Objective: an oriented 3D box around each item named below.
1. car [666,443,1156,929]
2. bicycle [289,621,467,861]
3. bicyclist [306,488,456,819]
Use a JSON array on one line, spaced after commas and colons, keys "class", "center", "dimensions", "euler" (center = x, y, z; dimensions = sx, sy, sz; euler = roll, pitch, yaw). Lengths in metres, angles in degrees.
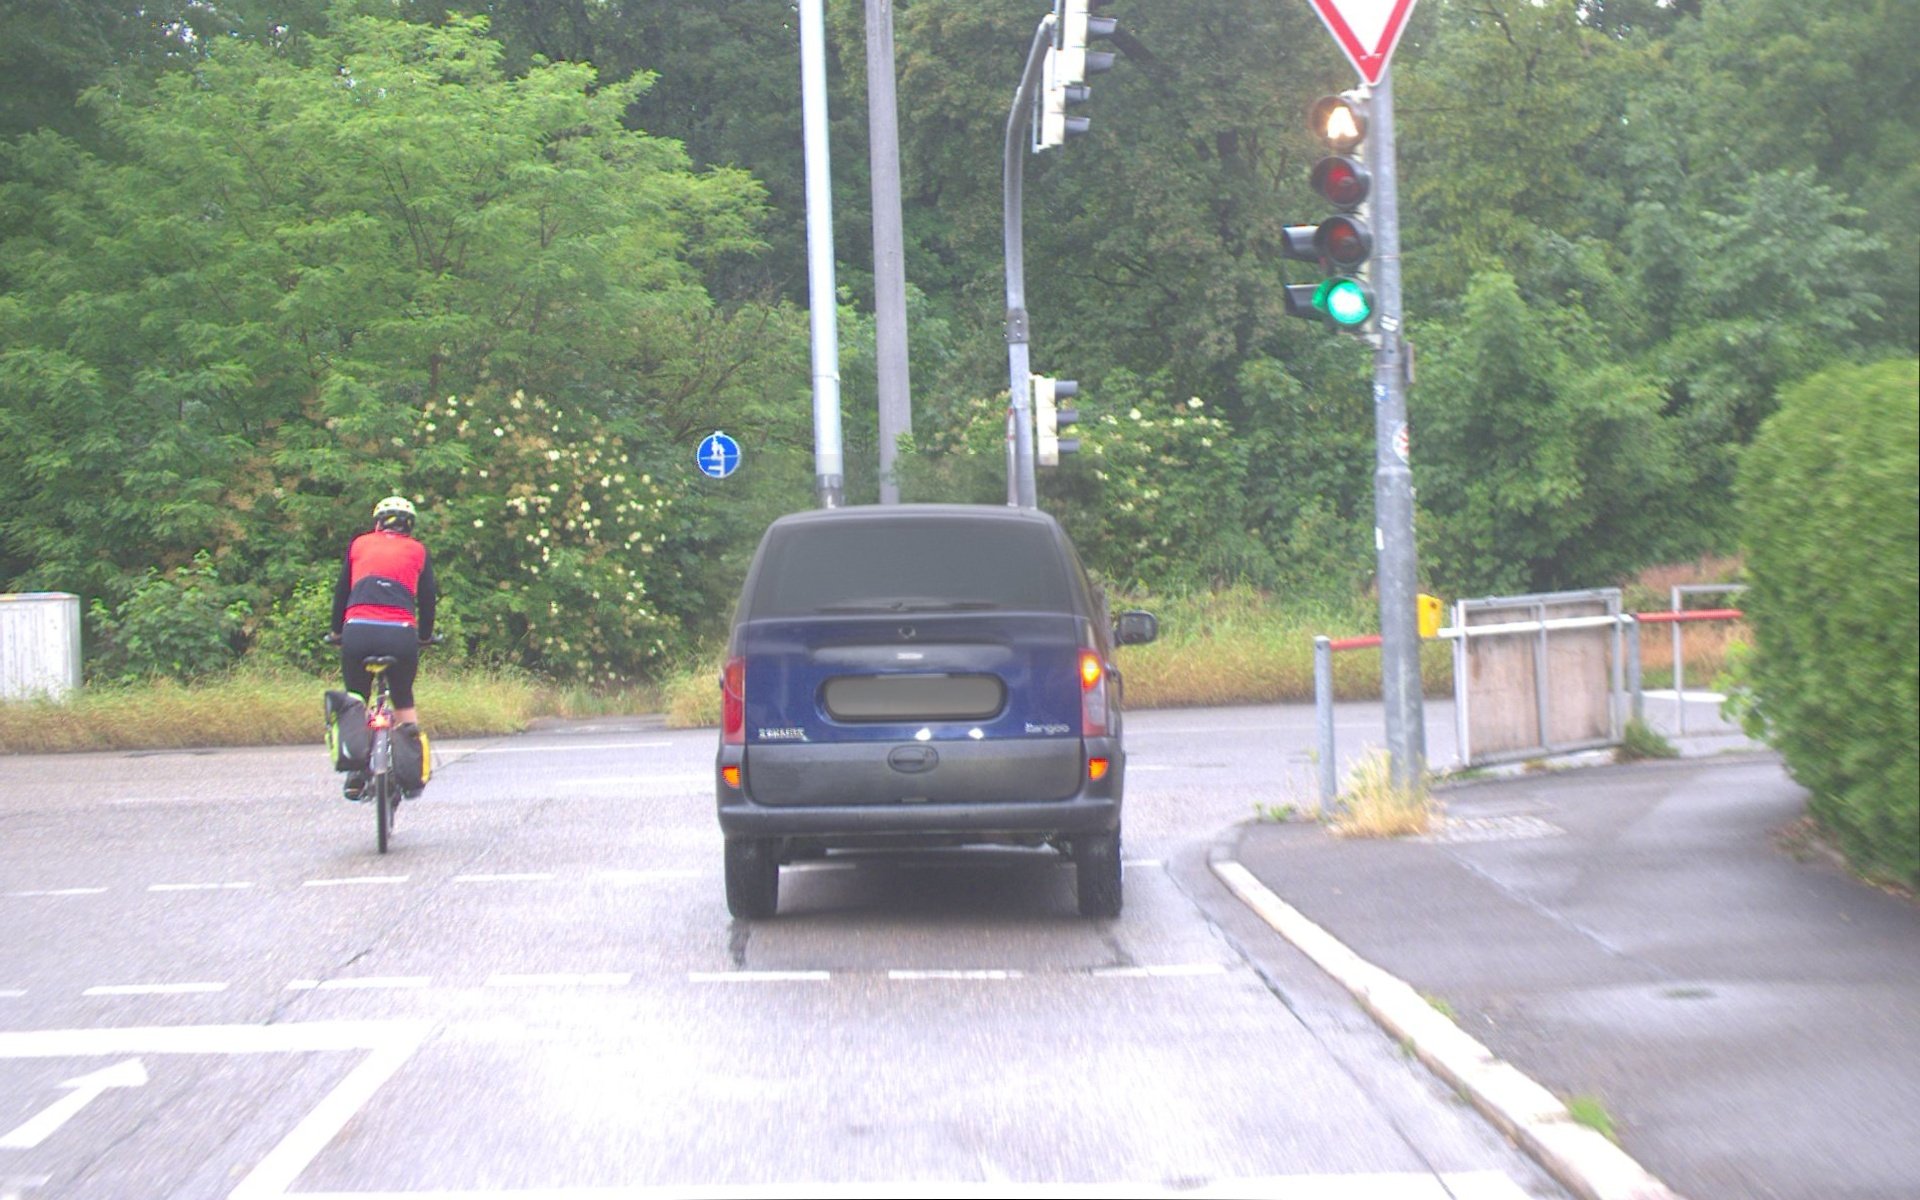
[{"class": "car", "center": [-0.194, 0.321, 15.176], "dimensions": [1.809, 1.791, 4.000], "euler": [-2, 0, 0]}, {"class": "bicycle", "center": [-2.964, 0.688, 17.680], "dimensions": [0.578, 1.093, 2.154], "euler": [-1, 1, -1]}, {"class": "bicyclist", "center": [-2.974, 0.258, 17.730], "dimensions": [0.578, 1.647, 1.048], "euler": [-1, 1, -1]}]
